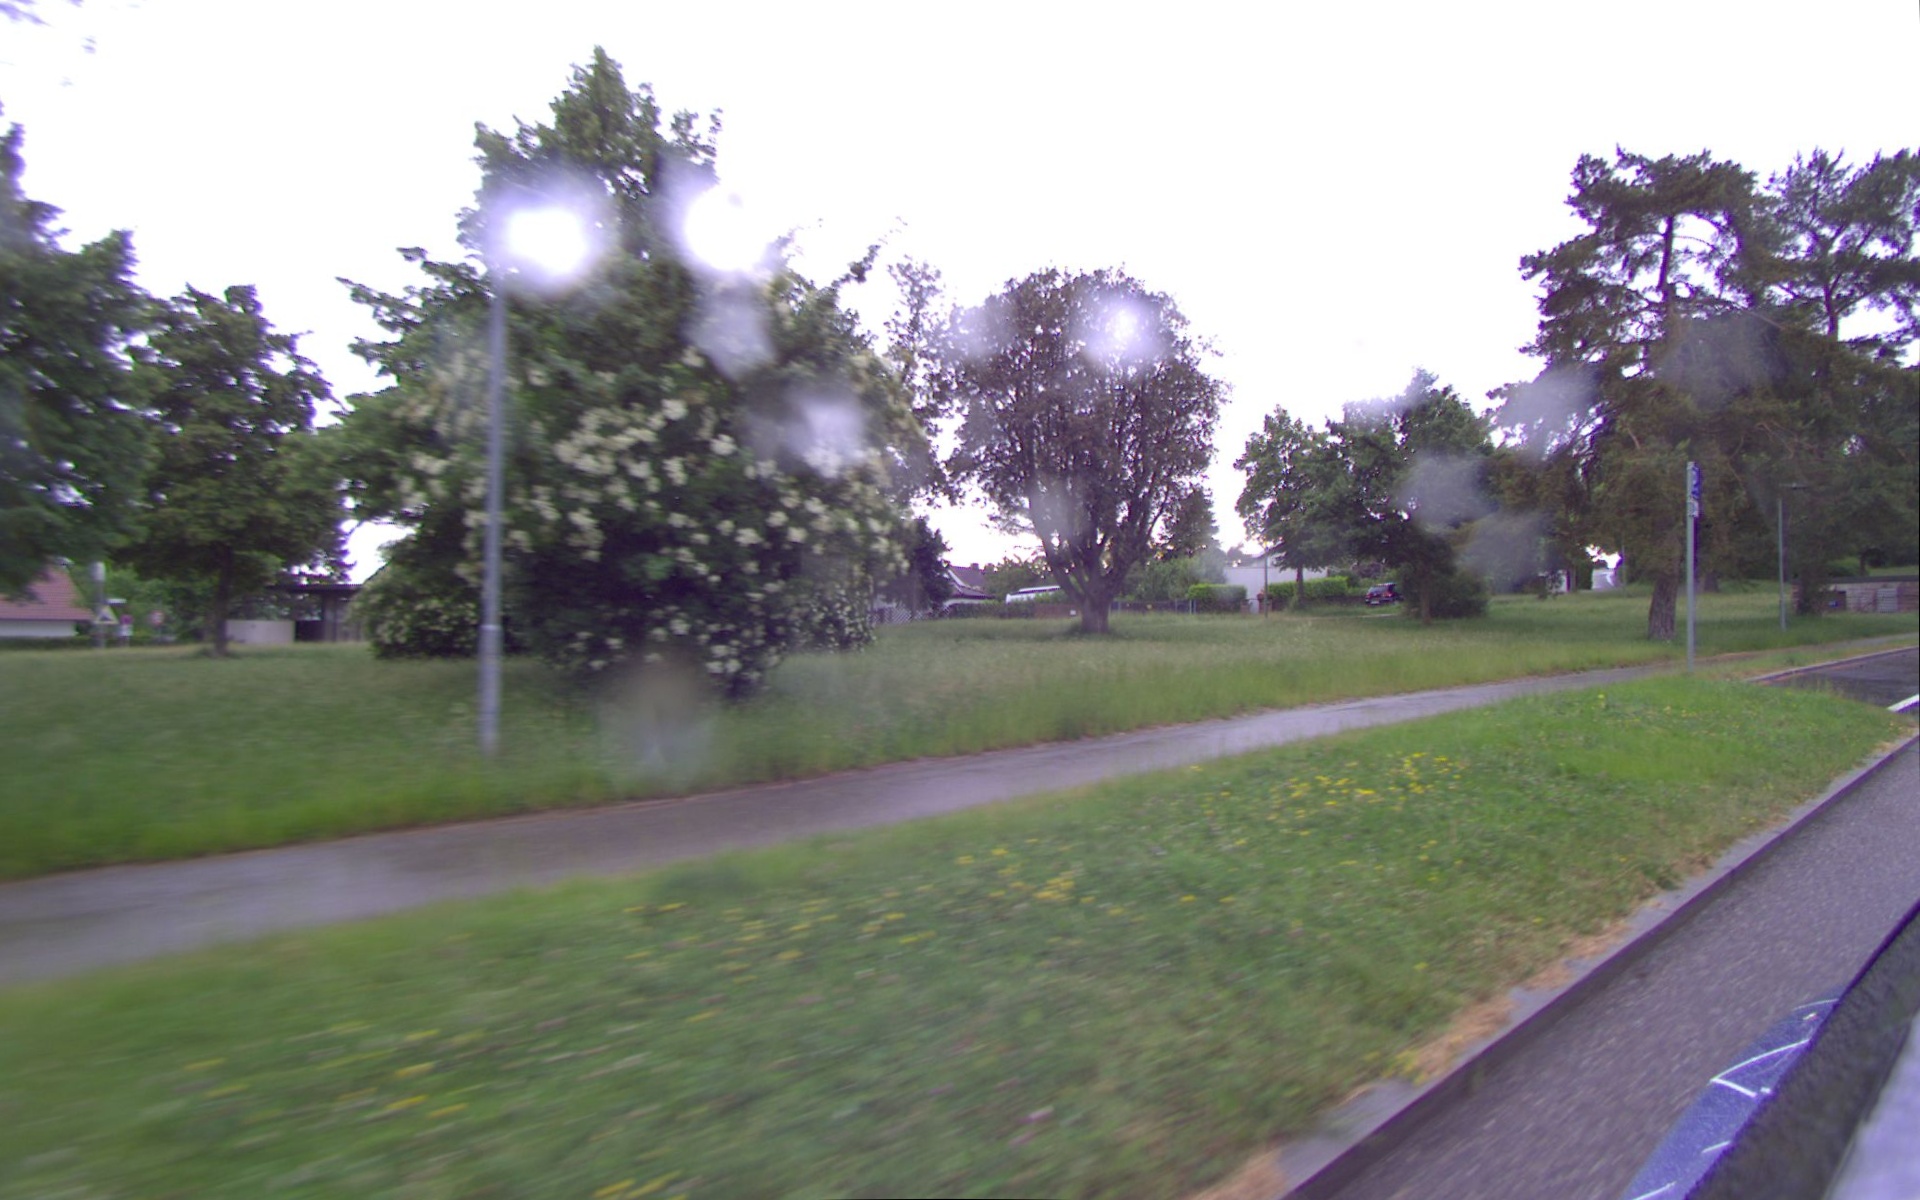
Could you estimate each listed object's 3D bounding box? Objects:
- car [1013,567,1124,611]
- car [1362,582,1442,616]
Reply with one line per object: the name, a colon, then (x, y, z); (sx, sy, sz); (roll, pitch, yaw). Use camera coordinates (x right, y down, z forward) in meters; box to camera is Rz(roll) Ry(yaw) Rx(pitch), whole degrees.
car: (6.673, -0.659, 63.039); (6.665, 2.530, 2.571); (1, -1, 44)
car: (24.160, -0.052, 55.311); (3.916, 1.674, 1.835); (2, -1, -23)
